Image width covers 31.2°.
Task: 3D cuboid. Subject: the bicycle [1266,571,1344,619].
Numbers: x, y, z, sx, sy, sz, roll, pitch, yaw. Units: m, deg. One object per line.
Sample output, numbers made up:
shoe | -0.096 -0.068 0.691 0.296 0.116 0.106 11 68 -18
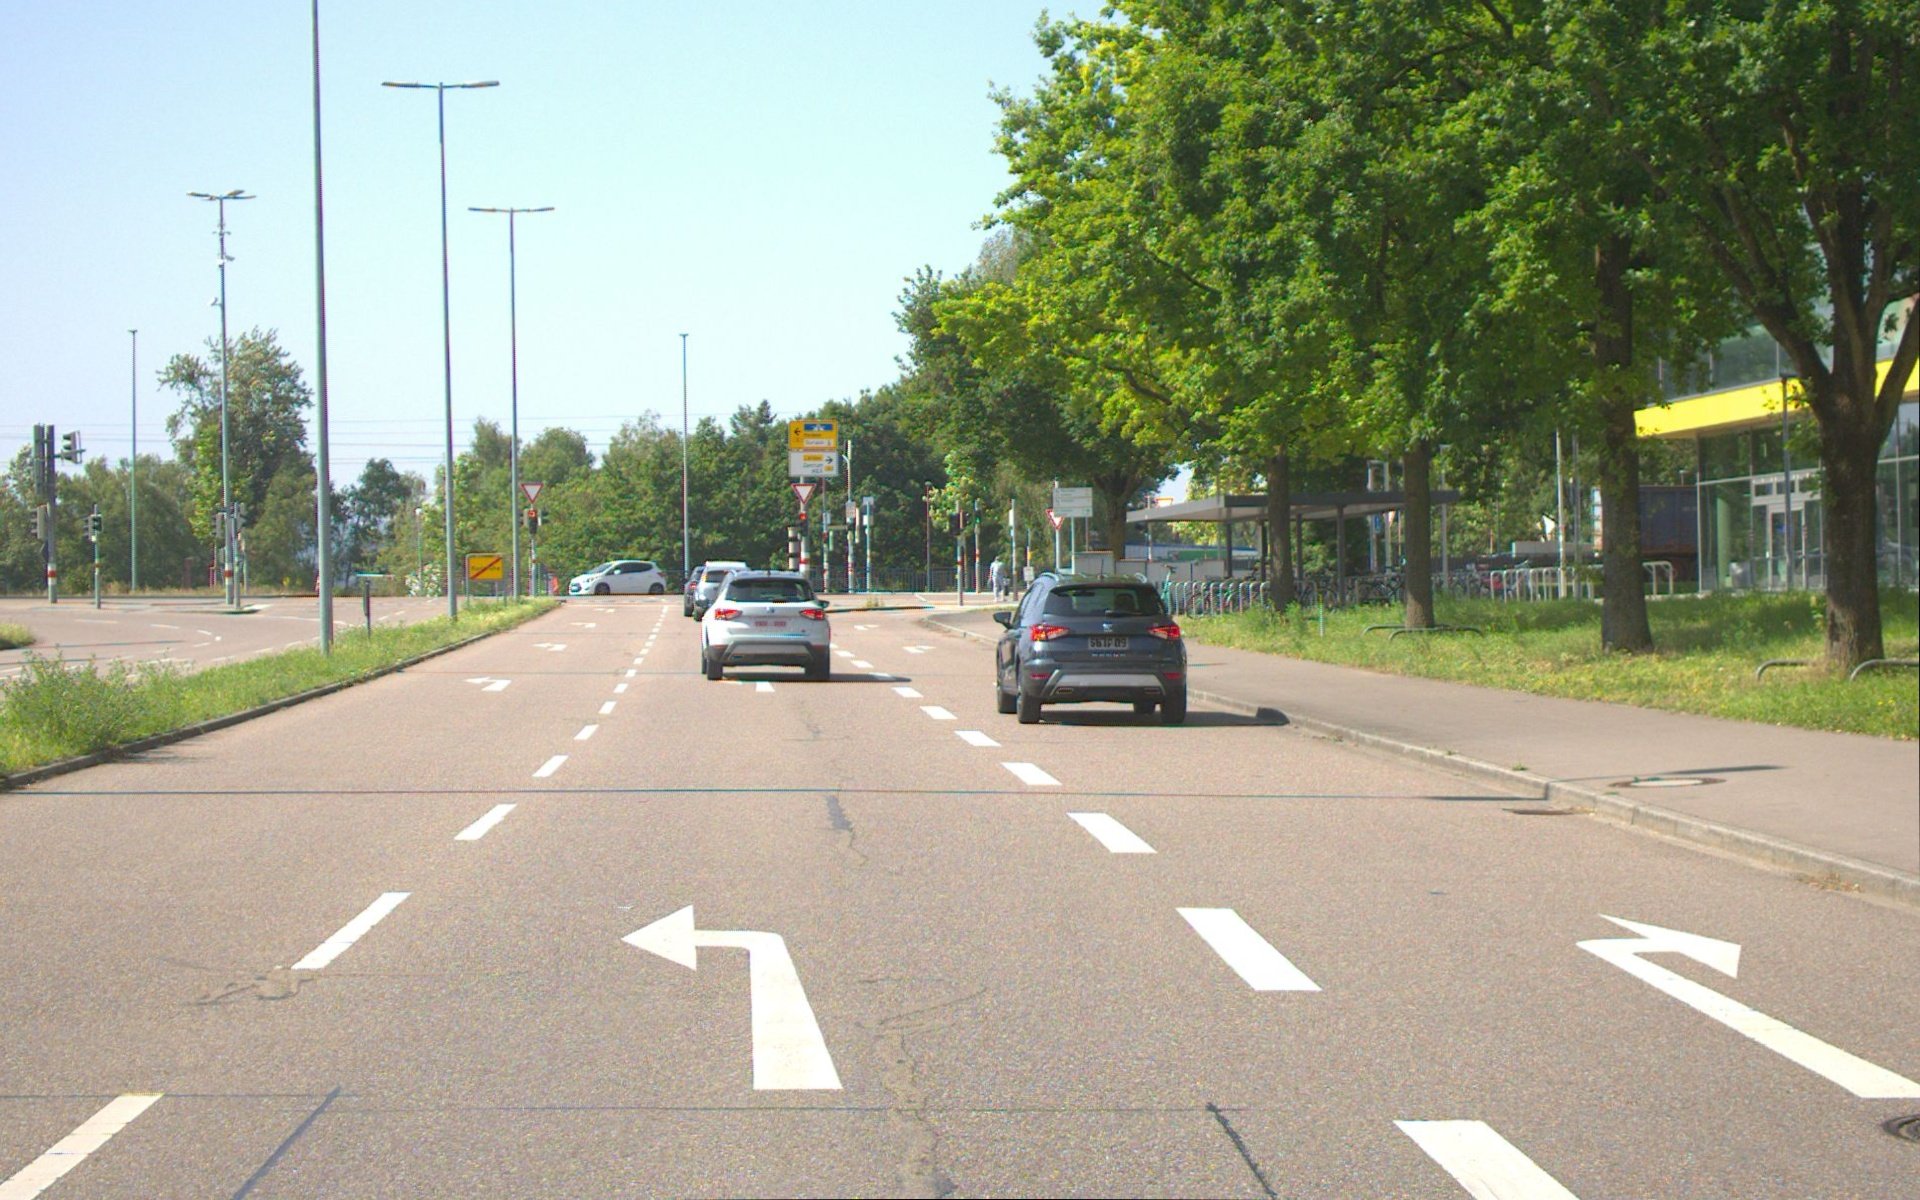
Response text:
bicycle | 8.106 -0.119 80.893 1.758 1.092 0.452 -1 1 -4

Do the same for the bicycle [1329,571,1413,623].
bicycle | 9.061 -0.067 75.786 1.758 1.092 0.452 -1 1 -4

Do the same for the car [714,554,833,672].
car | -2.664 0.149 48.868 1.630 1.493 3.871 0 2 -4

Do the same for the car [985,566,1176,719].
car | 1.214 0.413 35.954 1.669 1.518 3.377 0 0 -4

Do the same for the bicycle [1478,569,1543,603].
bicycle | 13.860 -0.359 86.585 1.561 0.840 0.434 -1 1 -2

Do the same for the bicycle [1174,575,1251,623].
bicycle | 6.011 -0.027 81.972 1.758 1.092 0.452 -1 1 -4

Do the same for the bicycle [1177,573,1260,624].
bicycle | 5.727 -0.035 76.110 1.758 1.092 0.452 -1 1 -4

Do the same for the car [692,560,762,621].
car | -6.326 -0.266 92.852 1.706 1.568 4.175 -2 1 -6

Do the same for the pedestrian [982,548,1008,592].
pedestrian | 1.220 -1.039 119.279 0.773 1.505 1.007 -1 2 7

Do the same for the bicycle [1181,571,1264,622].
bicycle | 5.765 -0.080 75.556 1.758 1.092 0.452 -1 1 -4

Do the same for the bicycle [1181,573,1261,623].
bicycle | 5.939 -0.040 78.315 1.758 1.092 0.452 -1 1 -4

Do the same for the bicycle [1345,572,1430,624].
bicycle | 9.267 -0.046 74.575 1.758 1.092 0.452 -1 1 -4

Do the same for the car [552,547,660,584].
car | -14.680 -1.427 142.449 4.073 1.541 1.800 0 0 -30
